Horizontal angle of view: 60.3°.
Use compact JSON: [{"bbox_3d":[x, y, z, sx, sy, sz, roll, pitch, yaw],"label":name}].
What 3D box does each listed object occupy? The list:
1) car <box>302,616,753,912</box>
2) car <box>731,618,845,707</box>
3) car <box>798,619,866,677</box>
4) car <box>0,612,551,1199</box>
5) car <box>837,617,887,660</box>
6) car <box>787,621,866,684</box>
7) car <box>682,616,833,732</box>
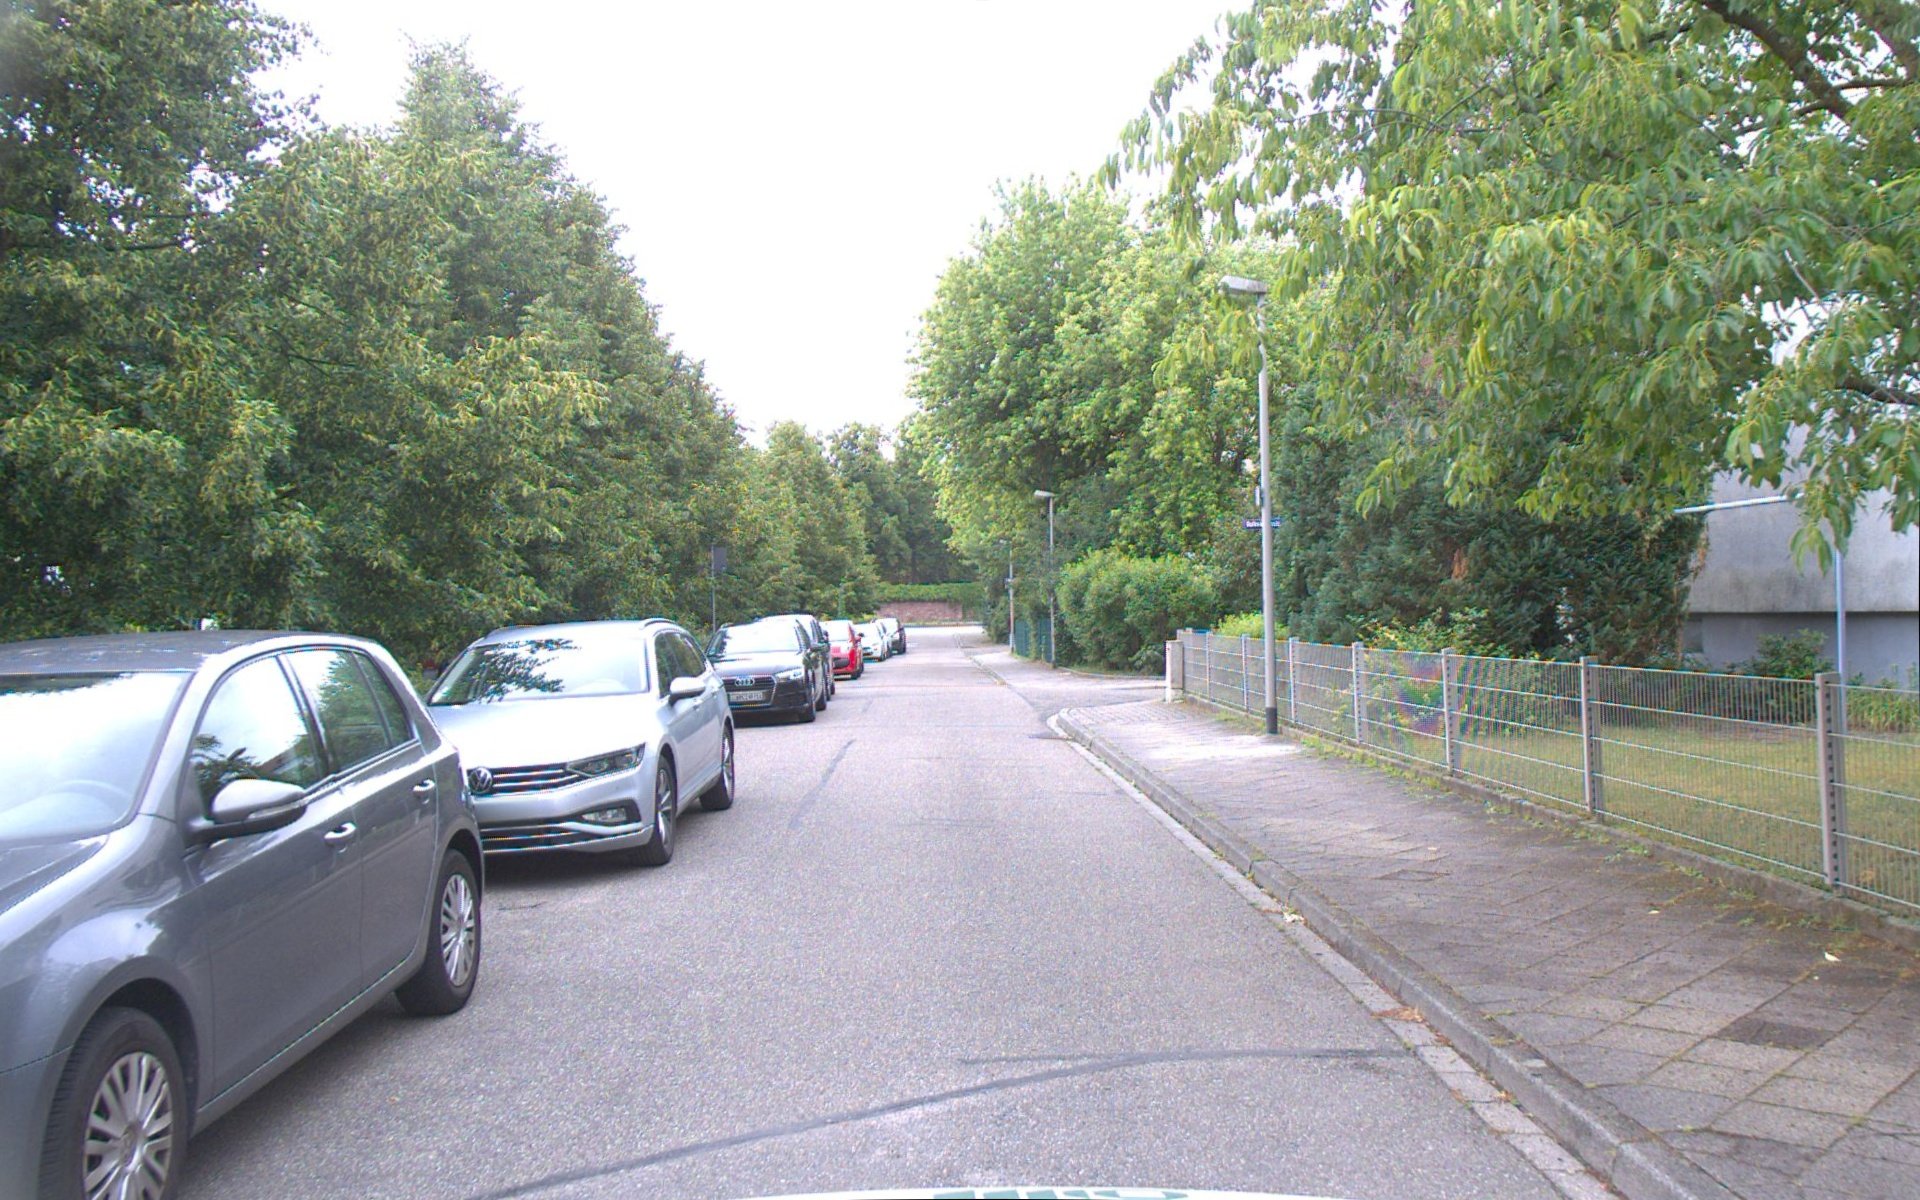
[{"bbox_3d":[-2.592,0.895,11.078,1.740,1.453,4.478,-3,0,0],"label":"car"},{"bbox_3d":[-3.188,1.130,31.380,1.716,1.450,3.999,-3,0,-1],"label":"car"},{"bbox_3d":[-3.792,1.400,49.561,1.716,1.546,3.999,-3,0,-1],"label":"car"},{"bbox_3d":[-2.622,0.849,4.722,1.721,1.504,4.305,-3,0,0],"label":"car"},{"bbox_3d":[-3.867,1.504,65.551,1.716,1.546,3.999,-3,0,-1],"label":"car"},{"bbox_3d":[-3.419,1.327,42.989,1.716,1.450,3.999,-3,0,-1],"label":"car"},{"bbox_3d":[-2.905,1.025,24.453,1.716,1.450,3.999,-3,0,-1],"label":"car"}]
